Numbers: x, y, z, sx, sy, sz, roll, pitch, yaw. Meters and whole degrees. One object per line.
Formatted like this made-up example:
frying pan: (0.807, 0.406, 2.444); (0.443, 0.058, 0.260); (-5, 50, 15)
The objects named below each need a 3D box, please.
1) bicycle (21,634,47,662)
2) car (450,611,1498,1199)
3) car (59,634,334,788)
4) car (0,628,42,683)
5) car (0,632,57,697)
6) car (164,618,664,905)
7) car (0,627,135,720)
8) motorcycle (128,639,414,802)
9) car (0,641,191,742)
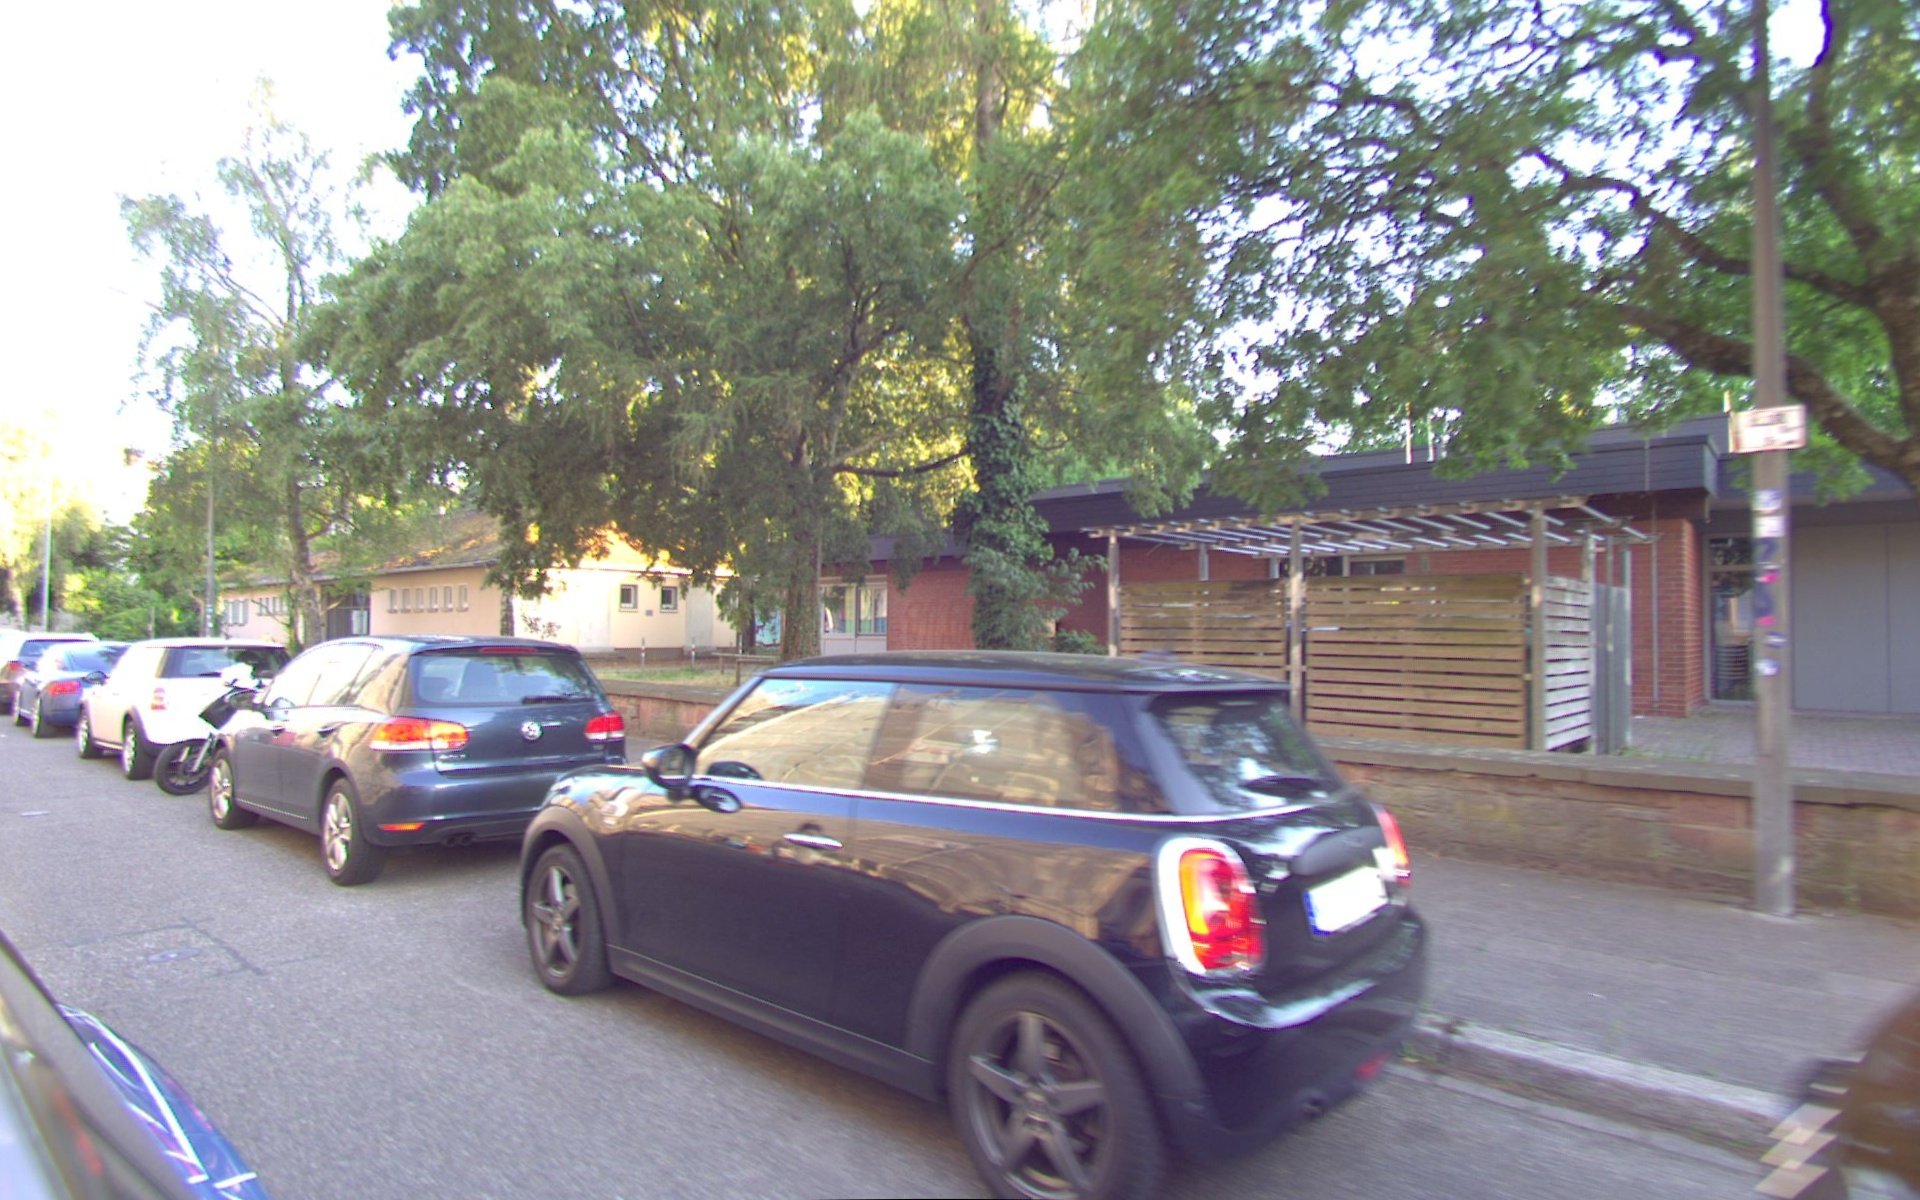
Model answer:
bicycle: (-38.443, 1.980, 41.986); (1.953, 1.126, 0.538); (-2, -2, 40)
car: (-0.316, 0.849, 3.944); (3.991, 1.489, 1.619); (-2, -4, 42)
car: (-8.671, 1.144, 11.395); (3.800, 1.442, 1.585); (-1, -5, 40)
car: (-27.497, 1.535, 28.367); (3.995, 1.464, 1.974); (-2, -2, 38)
car: (-23.424, 1.514, 24.405); (4.745, 1.457, 1.764); (-2, -5, 41)
car: (-4.174, 0.934, 7.415); (4.357, 1.508, 1.698); (-2, -4, 40)
car: (-17.225, 1.310, 18.990); (4.755, 1.550, 1.840); (-2, -4, 41)
motorcycle: (-6.384, 1.049, 9.501); (2.135, 1.313, 0.882); (0, -1, -35)
car: (-13.284, 1.309, 15.466); (4.153, 1.323, 1.641); (-2, -4, 42)
